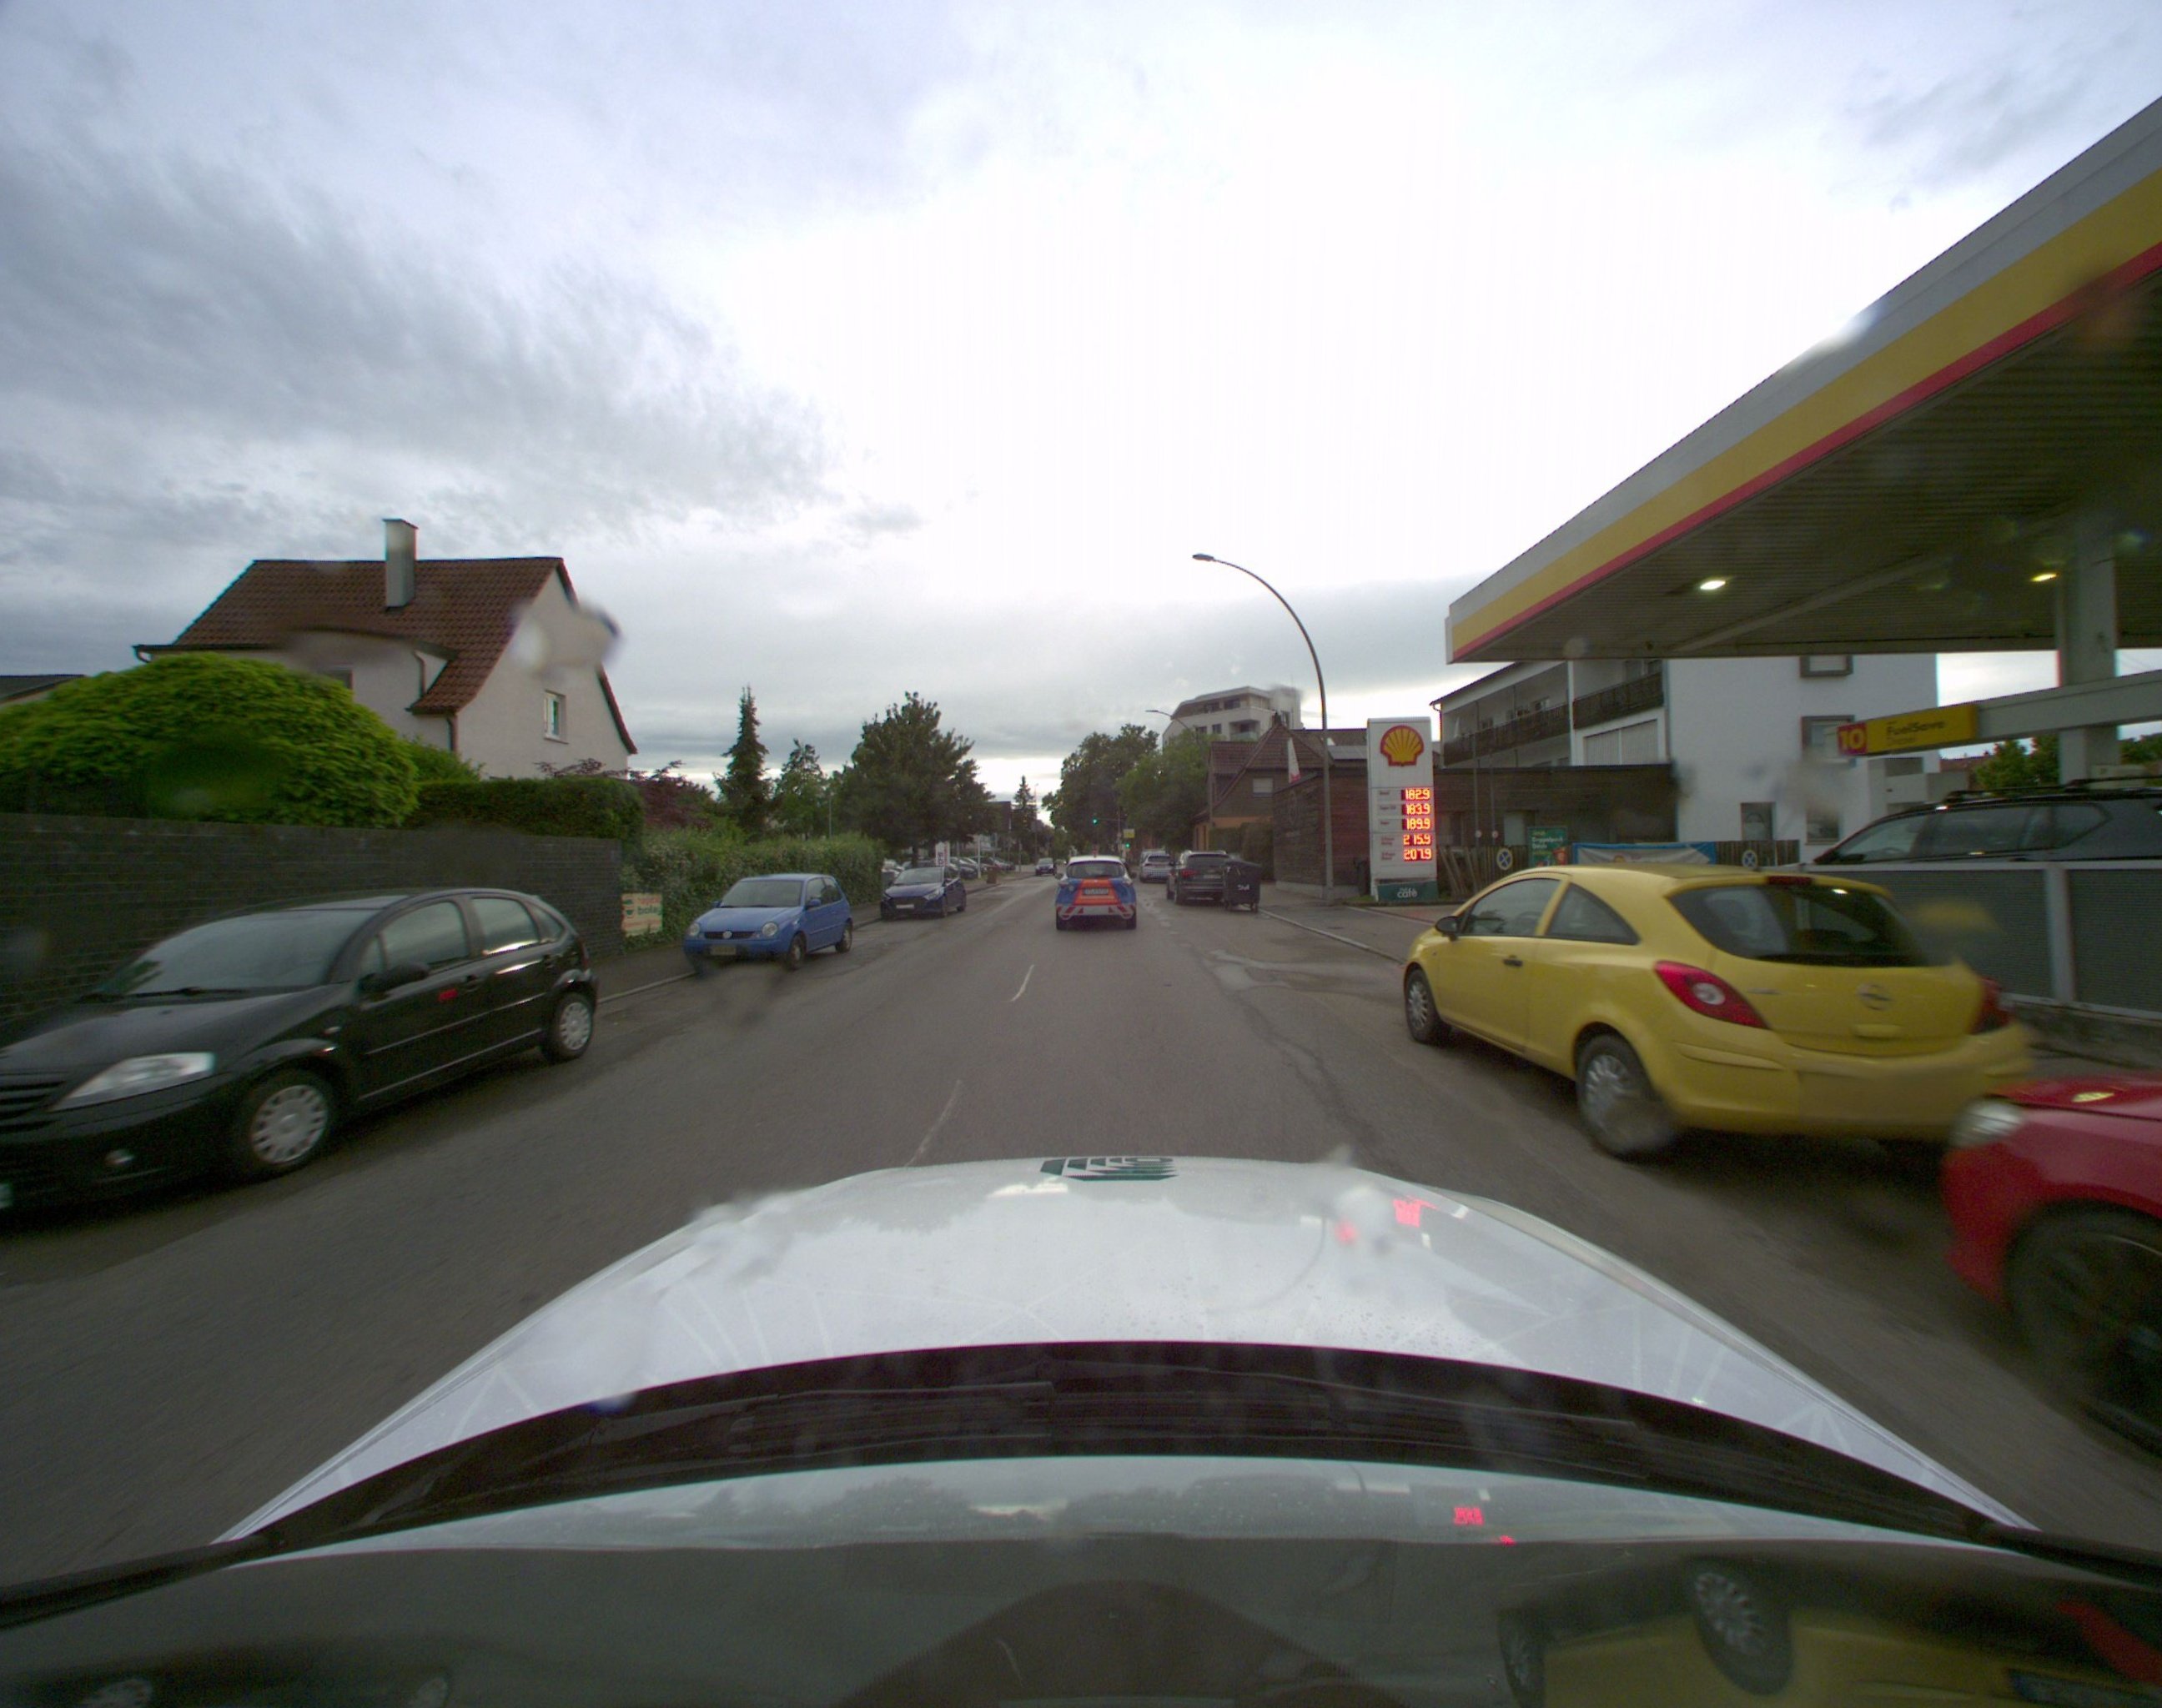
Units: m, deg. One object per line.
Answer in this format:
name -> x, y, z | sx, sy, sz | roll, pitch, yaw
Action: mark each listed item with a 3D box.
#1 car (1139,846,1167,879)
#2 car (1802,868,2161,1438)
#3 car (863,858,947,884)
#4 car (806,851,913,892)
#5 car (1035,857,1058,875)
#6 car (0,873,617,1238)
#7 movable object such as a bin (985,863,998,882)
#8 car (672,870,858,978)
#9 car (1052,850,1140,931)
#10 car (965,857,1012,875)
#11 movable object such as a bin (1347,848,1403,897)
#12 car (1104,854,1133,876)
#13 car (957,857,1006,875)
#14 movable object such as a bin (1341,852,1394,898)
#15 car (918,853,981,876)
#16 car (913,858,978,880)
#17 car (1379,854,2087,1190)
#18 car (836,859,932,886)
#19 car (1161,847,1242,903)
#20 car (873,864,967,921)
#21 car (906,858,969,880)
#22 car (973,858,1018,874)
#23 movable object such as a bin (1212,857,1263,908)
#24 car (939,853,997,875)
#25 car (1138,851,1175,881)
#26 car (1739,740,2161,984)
car -> 4.691, 0.504, 53.788 | 1.770, 2.029, 4.759 | 0, 1, 4
car -> 3.478, 0.747, 1.009 | 1.650, 1.376, 4.025 | -1, 0, 1
car -> -10.021, 0.949, 46.645 | 4.361, 1.374, 1.889 | -1, 0, 1
car -> -10.465, 0.810, 38.671 | 4.547, 1.790, 1.896 | -1, 0, -3
car -> -2.955, 0.993, 70.043 | 1.620, 1.433, 3.686 | -1, 0, 3
car -> -5.048, 0.958, 5.462 | 1.603, 1.506, 3.708 | -3, 0, 1
movable object such as a bin -> -5.410, 1.131, 49.353 | 0.705, 1.130, 0.735 | -1, 0, 2
car -> -5.013, 1.044, 13.449 | 1.540, 1.403, 3.598 | -3, 0, 1
car -> 0.354, 0.738, 18.549 | 1.739, 1.581, 4.001 | -2, 0, 1
car -> -8.404, 1.086, 74.045 | 3.970, 1.544, 1.805 | 0, 0, 3
movable object such as a bin -> 8.443, 0.513, 23.458 | 1.098, 1.340, 1.384 | -1, 0, -1
car -> 2.902, 0.829, 63.373 | 1.988, 1.574, 3.999 | 0, 1, -1
car -> -8.724, 1.076, 71.253 | 3.970, 1.544, 1.805 | 0, 0, 3
movable object such as a bin -> 8.619, 0.617, 24.568 | 1.098, 1.340, 1.384 | -1, 0, -1
car -> -9.914, 0.781, 61.633 | 4.331, 1.691, 2.059 | -1, 0, 2
car -> -9.801, 1.069, 59.163 | 4.331, 1.464, 1.942 | -1, 0, 2
car -> 3.464, 0.712, 5.359 | 1.650, 1.402, 3.802 | -1, 0, 1
car -> -10.422, 0.965, 43.291 | 4.541, 1.309, 1.889 | -1, 0, 1
car -> 3.844, 0.614, 26.815 | 2.083, 1.662, 4.560 | 0, 1, 1
car -> -4.591, 1.044, 23.802 | 1.800, 1.403, 3.946 | -3, 0, 1
car -> -9.970, 1.029, 56.683 | 3.972, 1.464, 1.840 | -1, 0, 2
car -> -8.017, 1.093, 76.764 | 3.970, 1.441, 1.805 | 0, 0, 3
movable object such as a bin -> 4.467, 0.800, 23.323 | 1.123, 1.388, 1.503 | -1, 0, -1
car -> -9.191, 0.819, 66.505 | 4.331, 1.690, 1.960 | -1, 0, 2
car -> 4.380, 0.702, 47.756 | 1.859, 1.665, 4.321 | -1, 0, 1
car -> 8.683, 0.037, 7.585 | 1.814, 1.759, 3.998 | -1, 0, -1
